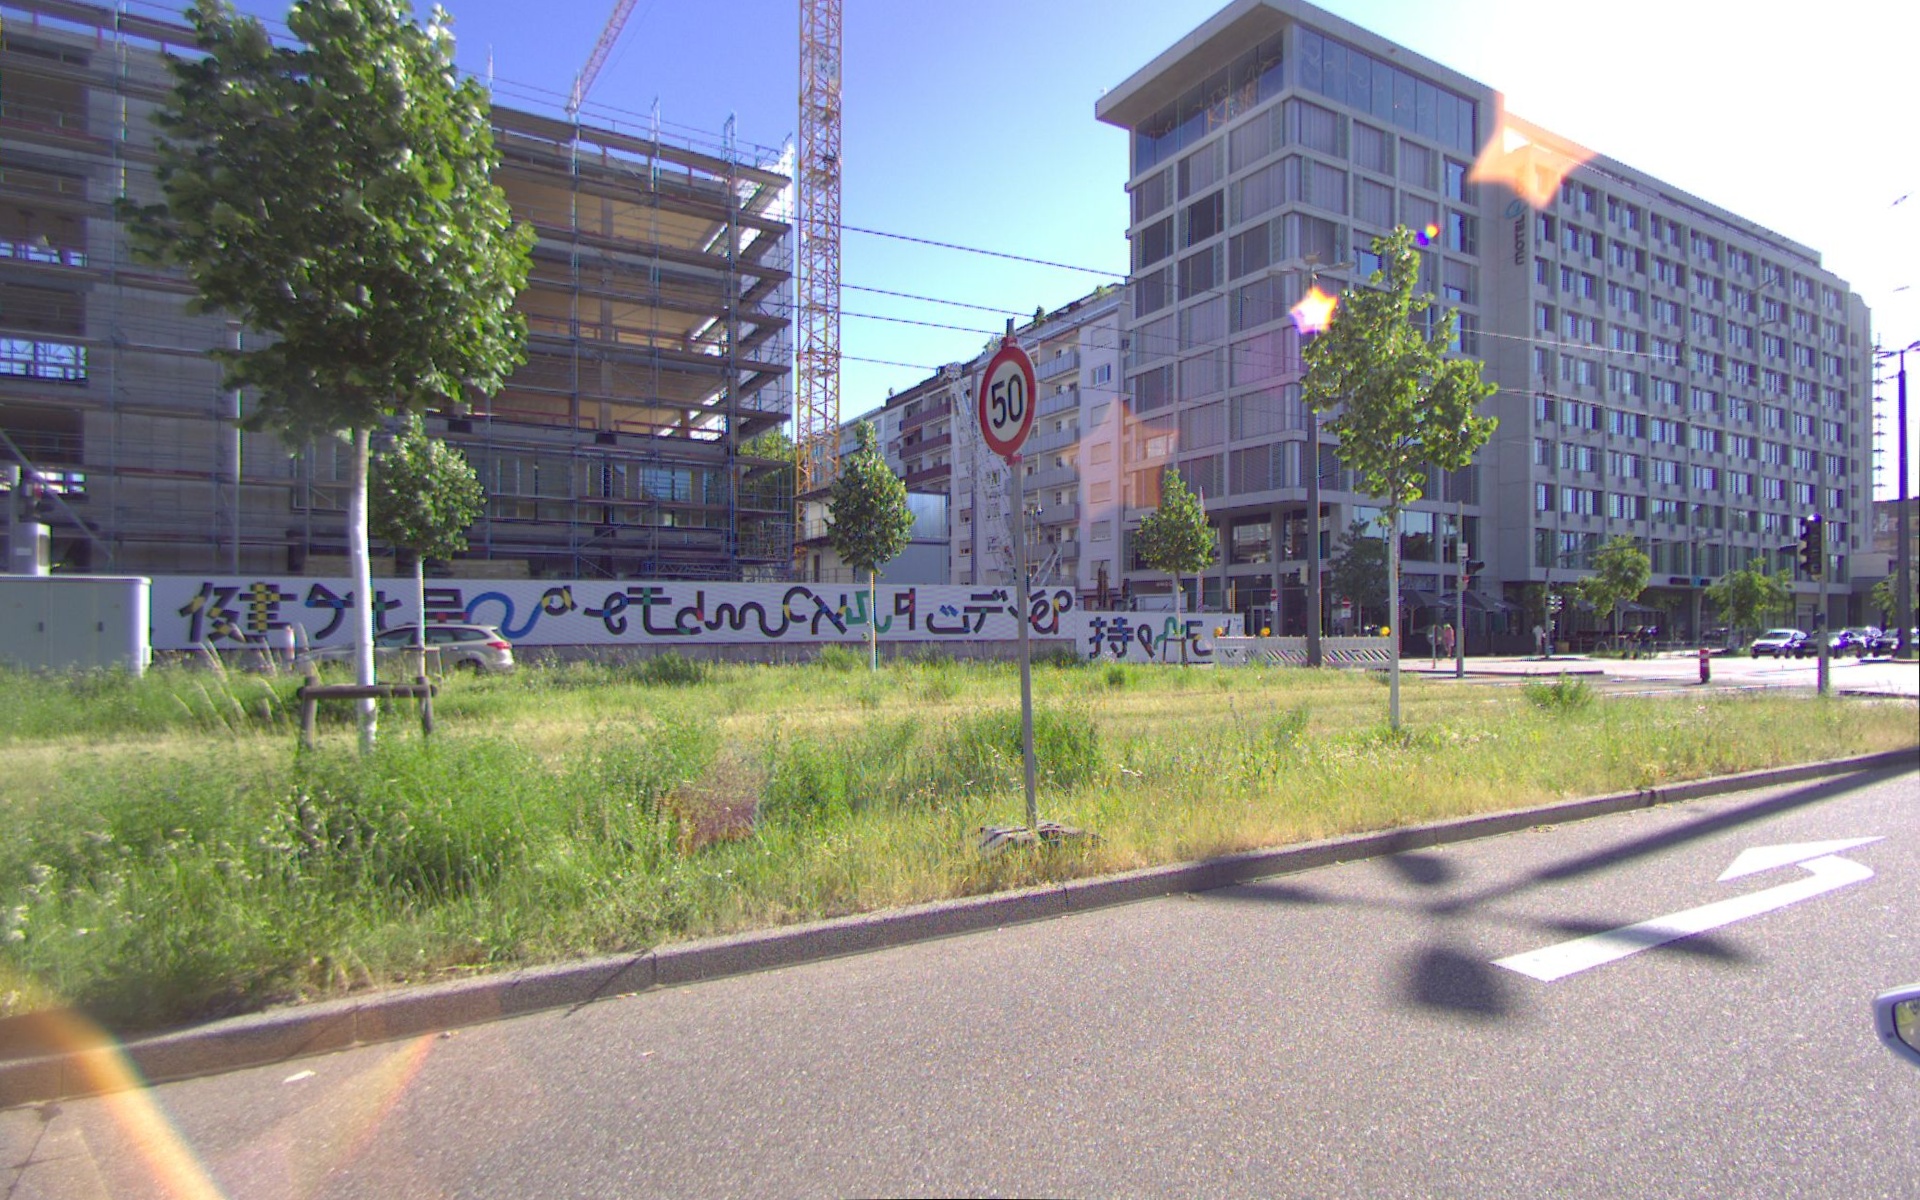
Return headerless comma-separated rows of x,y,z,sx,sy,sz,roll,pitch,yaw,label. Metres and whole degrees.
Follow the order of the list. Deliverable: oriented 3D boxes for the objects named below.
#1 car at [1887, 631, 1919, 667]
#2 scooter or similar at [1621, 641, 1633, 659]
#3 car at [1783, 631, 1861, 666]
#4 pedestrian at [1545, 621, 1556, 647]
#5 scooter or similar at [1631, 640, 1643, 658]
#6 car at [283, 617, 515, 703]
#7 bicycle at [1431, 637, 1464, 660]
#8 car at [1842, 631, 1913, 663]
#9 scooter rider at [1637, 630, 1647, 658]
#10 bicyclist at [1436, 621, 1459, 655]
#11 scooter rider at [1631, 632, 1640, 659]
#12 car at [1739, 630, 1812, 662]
47.178,2.353,48.931,4.284,1.673,1.782,1,-2,-30,car
35.641,2.684,53.685,0.760,0.960,0.283,1,-1,-38,scooter or similar
43.475,2.400,50.654,3.953,1.673,1.782,1,-2,-30,car
33.954,1.951,57.781,0.338,1.513,0.414,1,-1,-30,pedestrian
35.555,2.579,52.733,0.758,0.960,0.227,1,-1,-30,scooter or similar
-12.765,1.305,23.127,4.472,1.816,1.985,1,-1,-29,car
24.165,2.400,49.785,1.601,1.115,0.584,2,0,-27,bicycle
50.276,2.527,55.019,3.953,1.673,1.782,1,-2,-30,car
35.729,2.315,52.608,0.236,1.472,0.341,1,-1,-30,scooter rider
24.148,1.880,49.729,0.881,1.601,0.591,1,0,-27,bicyclist
35.888,2.415,53.374,0.236,1.472,0.341,1,-1,-30,scooter rider
44.089,2.467,54.304,3.953,1.673,1.782,1,-2,-30,car
